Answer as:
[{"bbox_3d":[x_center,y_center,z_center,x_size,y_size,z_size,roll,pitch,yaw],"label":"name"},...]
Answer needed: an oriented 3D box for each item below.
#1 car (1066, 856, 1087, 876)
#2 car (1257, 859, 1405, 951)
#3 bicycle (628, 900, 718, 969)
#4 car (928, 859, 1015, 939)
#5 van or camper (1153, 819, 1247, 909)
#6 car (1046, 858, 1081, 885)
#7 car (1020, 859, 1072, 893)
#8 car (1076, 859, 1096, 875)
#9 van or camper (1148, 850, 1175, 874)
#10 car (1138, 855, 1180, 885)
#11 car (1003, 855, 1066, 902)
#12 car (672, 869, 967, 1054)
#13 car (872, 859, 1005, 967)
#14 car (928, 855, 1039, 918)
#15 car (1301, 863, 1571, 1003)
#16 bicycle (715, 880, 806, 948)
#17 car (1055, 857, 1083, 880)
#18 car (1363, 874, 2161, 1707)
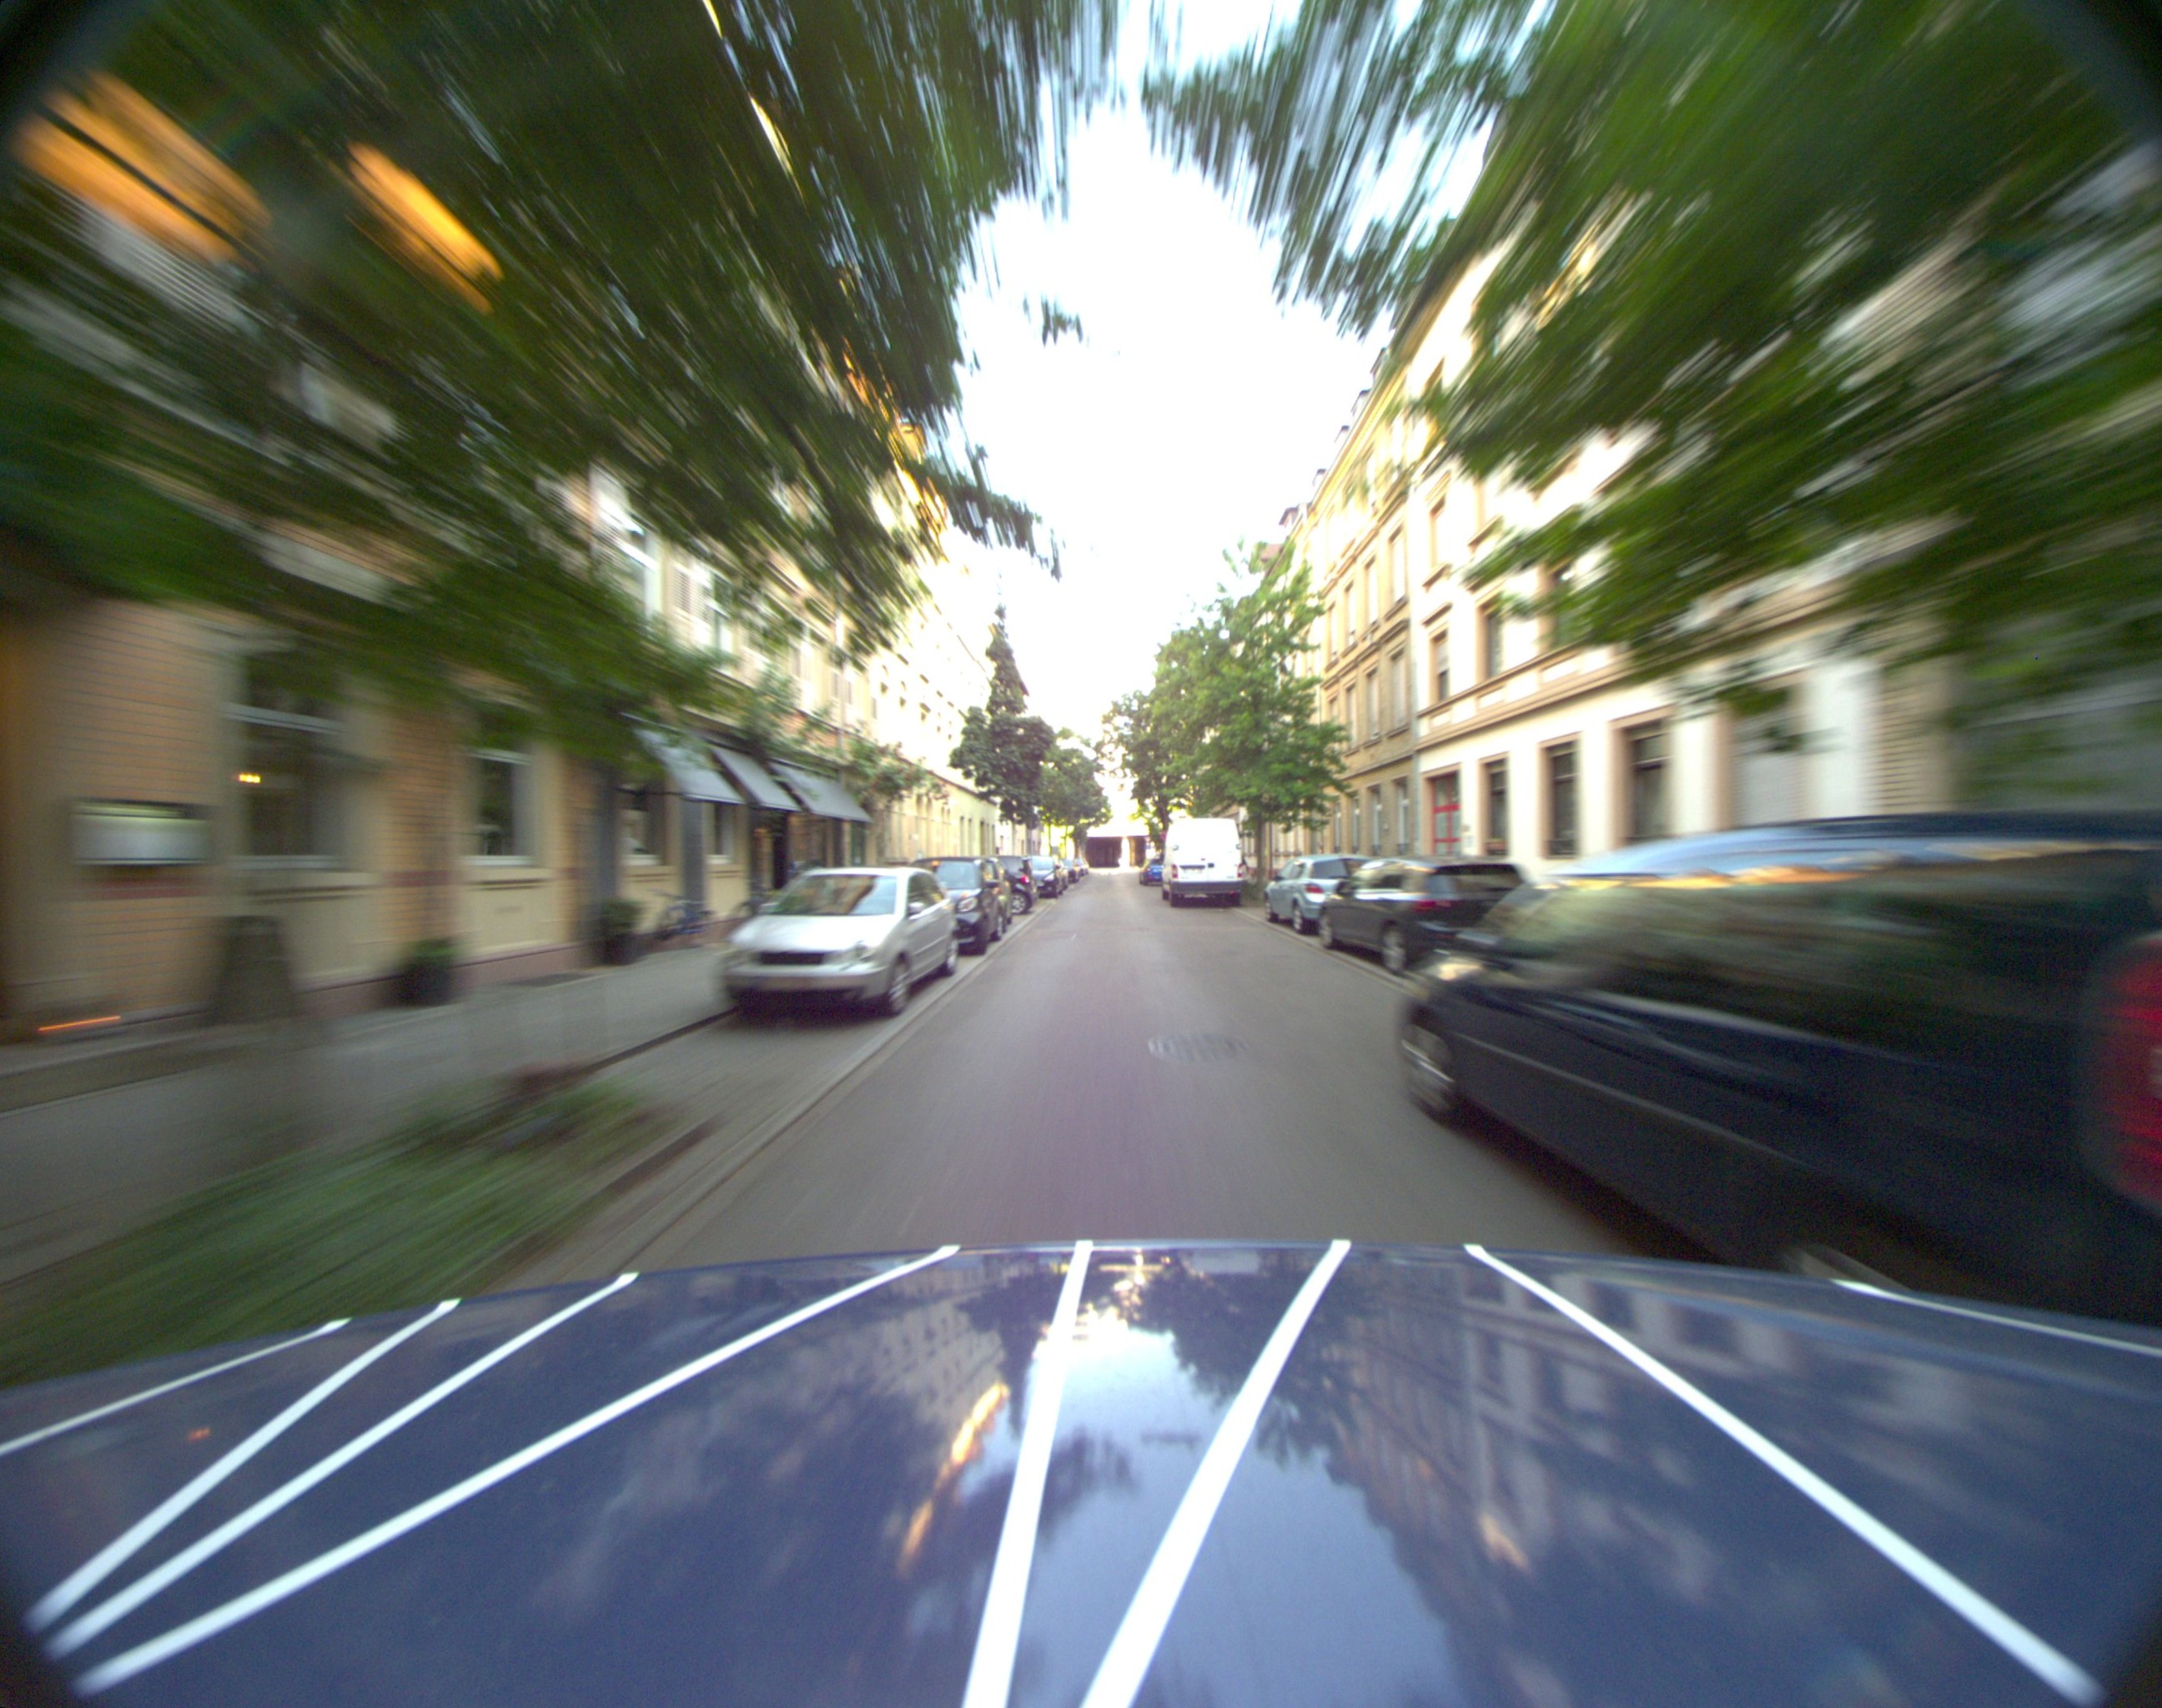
[{"bbox_3d":[-0.389,0.957,62.295,1.656,1.500,3.870,-1,0,0],"label":"car"},{"bbox_3d":[4.769,0.893,15.122,1.688,1.501,4.114,-1,0,2],"label":"car"},{"bbox_3d":[-5.965,1.150,11.189,0.447,0.854,1.548,-1,0,1],"label":"bicycle"},{"bbox_3d":[-2.255,0.887,16.235,1.468,1.543,2.917,0,0,-1],"label":"car"},{"bbox_3d":[3.499,0.276,23.525,2.225,2.416,5.661,0,0,2],"label":"van or camper"},{"bbox_3d":[-1.015,1.018,45.810,1.834,1.530,4.124,0,0,2],"label":"car"},{"bbox_3d":[-1.569,0.977,35.531,2.051,1.395,4.867,0,0,2],"label":"car"},{"bbox_3d":[0.432,1.124,68.425,1.656,1.381,3.513,-1,0,0],"label":"car"},{"bbox_3d":[6.387,0.609,60.650,1.683,1.847,3.756,-1,0,-1],"label":"van or camper"},{"bbox_3d":[3.988,0.802,39.447,1.664,1.448,4.283,0,0,-2],"label":"car"},{"bbox_3d":[-1.676,0.859,28.887,1.944,1.621,4.454,-1,0,2],"label":"car"},{"bbox_3d":[-2.520,0.953,8.475,1.737,1.482,4.104,0,0,2],"label":"car"},{"bbox_3d":[-2.271,0.890,12.844,1.595,1.551,3.123,-1,0,1],"label":"car"},{"bbox_3d":[-2.559,0.835,20.418,2.721,1.564,1.526,1,0,2],"label":"car"},{"bbox_3d":[4.512,0.892,10.458,1.771,1.454,4.259,-1,0,1],"label":"car"},{"bbox_3d":[-5.661,1.029,13.564,0.687,1.030,1.951,2,0,3],"label":"bicycle"},{"bbox_3d":[-0.774,0.951,50.889,1.656,1.431,3.639,-1,0,1],"label":"car"},{"bbox_3d":[2.679,0.923,2.952,1.728,1.564,4.220,-1,0,2],"label":"car"}]
